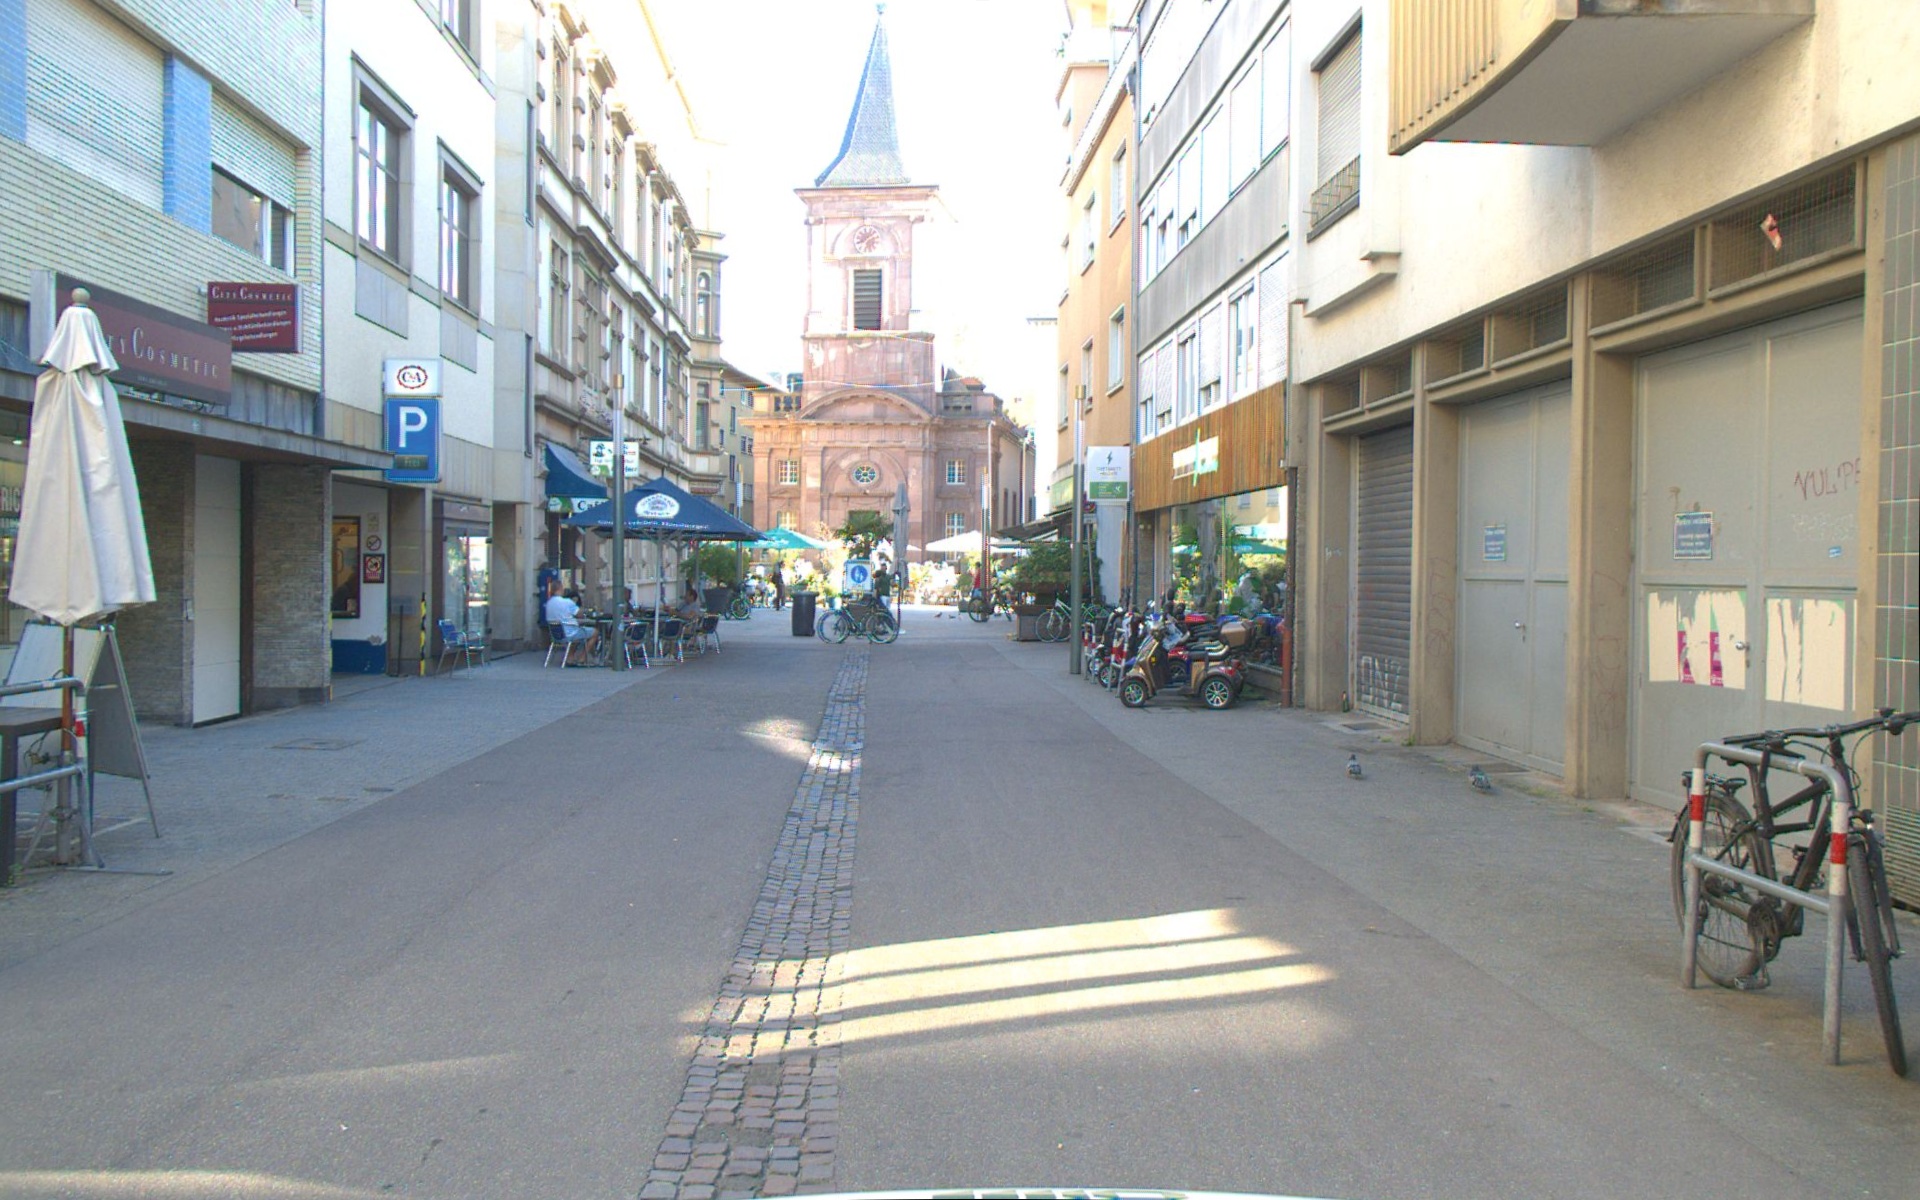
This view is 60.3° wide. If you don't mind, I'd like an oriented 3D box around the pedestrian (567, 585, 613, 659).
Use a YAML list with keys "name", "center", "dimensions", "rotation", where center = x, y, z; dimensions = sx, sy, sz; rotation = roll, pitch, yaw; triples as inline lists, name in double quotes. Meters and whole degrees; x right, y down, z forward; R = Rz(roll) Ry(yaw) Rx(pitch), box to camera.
- name: "pedestrian"
  center: [-6.382, 0.368, 28.551]
  dimensions: [0.751, 1.254, 0.829]
  rotation: [0, 1, -11]

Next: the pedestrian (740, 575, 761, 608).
- name: "pedestrian"
  center: [-7.921, -0.321, 62.572]
  dimensions: [0.686, 1.239, 0.720]
  rotation: [1, 1, 2]

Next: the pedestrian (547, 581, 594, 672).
- name: "pedestrian"
  center: [-6.088, 0.409, 25.840]
  dimensions: [0.696, 1.392, 0.717]
  rotation: [0, 1, -15]

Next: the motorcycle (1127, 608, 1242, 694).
- name: "motorcycle"
  center: [2.920, 0.652, 21.522]
  dimensions: [1.452, 1.094, 0.412]
  rotation: [0, 0, 15]

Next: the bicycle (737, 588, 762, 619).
- name: "bicycle"
  center: [-6.201, 0.090, 48.733]
  dimensions: [0.447, 0.864, 2.146]
  rotation: [1, 1, 0]

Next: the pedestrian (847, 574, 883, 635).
- name: "pedestrian"
  center: [-2.339, 0.102, 40.948]
  dimensions: [0.866, 1.489, 0.730]
  rotation: [0, 1, -3]

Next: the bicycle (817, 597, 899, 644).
- name: "bicycle"
  center: [-2.256, 0.455, 36.443]
  dimensions: [1.789, 1.022, 0.381]
  rotation: [1, 1, -7]

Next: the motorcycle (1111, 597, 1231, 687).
- name: "motorcycle"
  center: [2.893, 0.565, 22.671]
  dimensions: [1.590, 1.195, 0.481]
  rotation: [0, 0, 15]

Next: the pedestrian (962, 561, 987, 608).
- name: "pedestrian"
  center: [0.524, -0.552, 59.499]
  dimensions: [0.606, 1.669, 0.649]
  rotation: [0, 1, -37]

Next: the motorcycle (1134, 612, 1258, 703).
- name: "motorcycle"
  center: [2.929, 0.707, 20.537]
  dimensions: [1.484, 1.094, 0.412]
  rotation: [0, 0, 15]

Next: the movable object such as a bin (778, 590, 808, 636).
- name: "movable object such as a bin"
  center: [-3.992, 0.312, 39.590]
  dimensions: [0.707, 1.093, 0.374]
  rotation: [0, 1, -5]

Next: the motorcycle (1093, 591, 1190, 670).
- name: "motorcycle"
  center: [2.788, 0.461, 25.412]
  dimensions: [1.452, 1.202, 0.412]
  rotation: [0, 0, 12]

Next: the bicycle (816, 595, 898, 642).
- name: "bicycle"
  center: [-2.295, 0.407, 36.842]
  dimensions: [1.789, 1.022, 0.381]
  rotation: [1, 1, -7]

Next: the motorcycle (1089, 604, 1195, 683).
- name: "motorcycle"
  center: [2.573, 0.608, 23.380]
  dimensions: [1.452, 1.094, 0.412]
  rotation: [0, 0, 15]

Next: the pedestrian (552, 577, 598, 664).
- name: "pedestrian"
  center: [-6.253, 0.324, 26.845]
  dimensions: [0.706, 1.392, 0.707]
  rotation: [0, 1, -15]

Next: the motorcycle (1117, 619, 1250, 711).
- name: "motorcycle"
  center: [2.664, 0.763, 19.717]
  dimensions: [1.531, 1.060, 0.373]
  rotation: [0, 0, 15]

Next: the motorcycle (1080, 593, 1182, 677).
- name: "motorcycle"
  center: [2.520, 0.505, 24.325]
  dimensions: [1.452, 1.202, 0.412]
  rotation: [0, 0, 12]

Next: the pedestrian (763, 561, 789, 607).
- name: "pedestrian"
  center: [-6.464, -0.563, 58.043]
  dimensions: [0.767, 1.583, 0.535]
  rotation: [1, 1, 15]

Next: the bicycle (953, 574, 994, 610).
- name: "bicycle"
  center: [0.512, -0.299, 62.326]
  dimensions: [1.571, 1.331, 0.361]
  rotation: [0, 1, -33]

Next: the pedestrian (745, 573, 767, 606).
- name: "pedestrian"
  center: [-7.893, -0.405, 64.006]
  dimensions: [0.686, 1.239, 0.720]
  rotation: [1, 1, 2]

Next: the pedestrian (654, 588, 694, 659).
- name: "pedestrian"
  center: [-5.077, 0.406, 29.345]
  dimensions: [0.680, 1.236, 0.582]
  rotation: [0, 1, -11]

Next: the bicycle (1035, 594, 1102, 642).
- name: "bicycle"
  center: [2.370, 0.386, 36.220]
  dimensions: [1.432, 1.022, 0.573]
  rotation: [1, 1, 4]

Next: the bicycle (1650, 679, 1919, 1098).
- name: "bicycle"
  center: [2.942, 0.894, 5.723]
  dimensions: [0.437, 1.160, 1.710]
  rotation: [1, 0, 2]
